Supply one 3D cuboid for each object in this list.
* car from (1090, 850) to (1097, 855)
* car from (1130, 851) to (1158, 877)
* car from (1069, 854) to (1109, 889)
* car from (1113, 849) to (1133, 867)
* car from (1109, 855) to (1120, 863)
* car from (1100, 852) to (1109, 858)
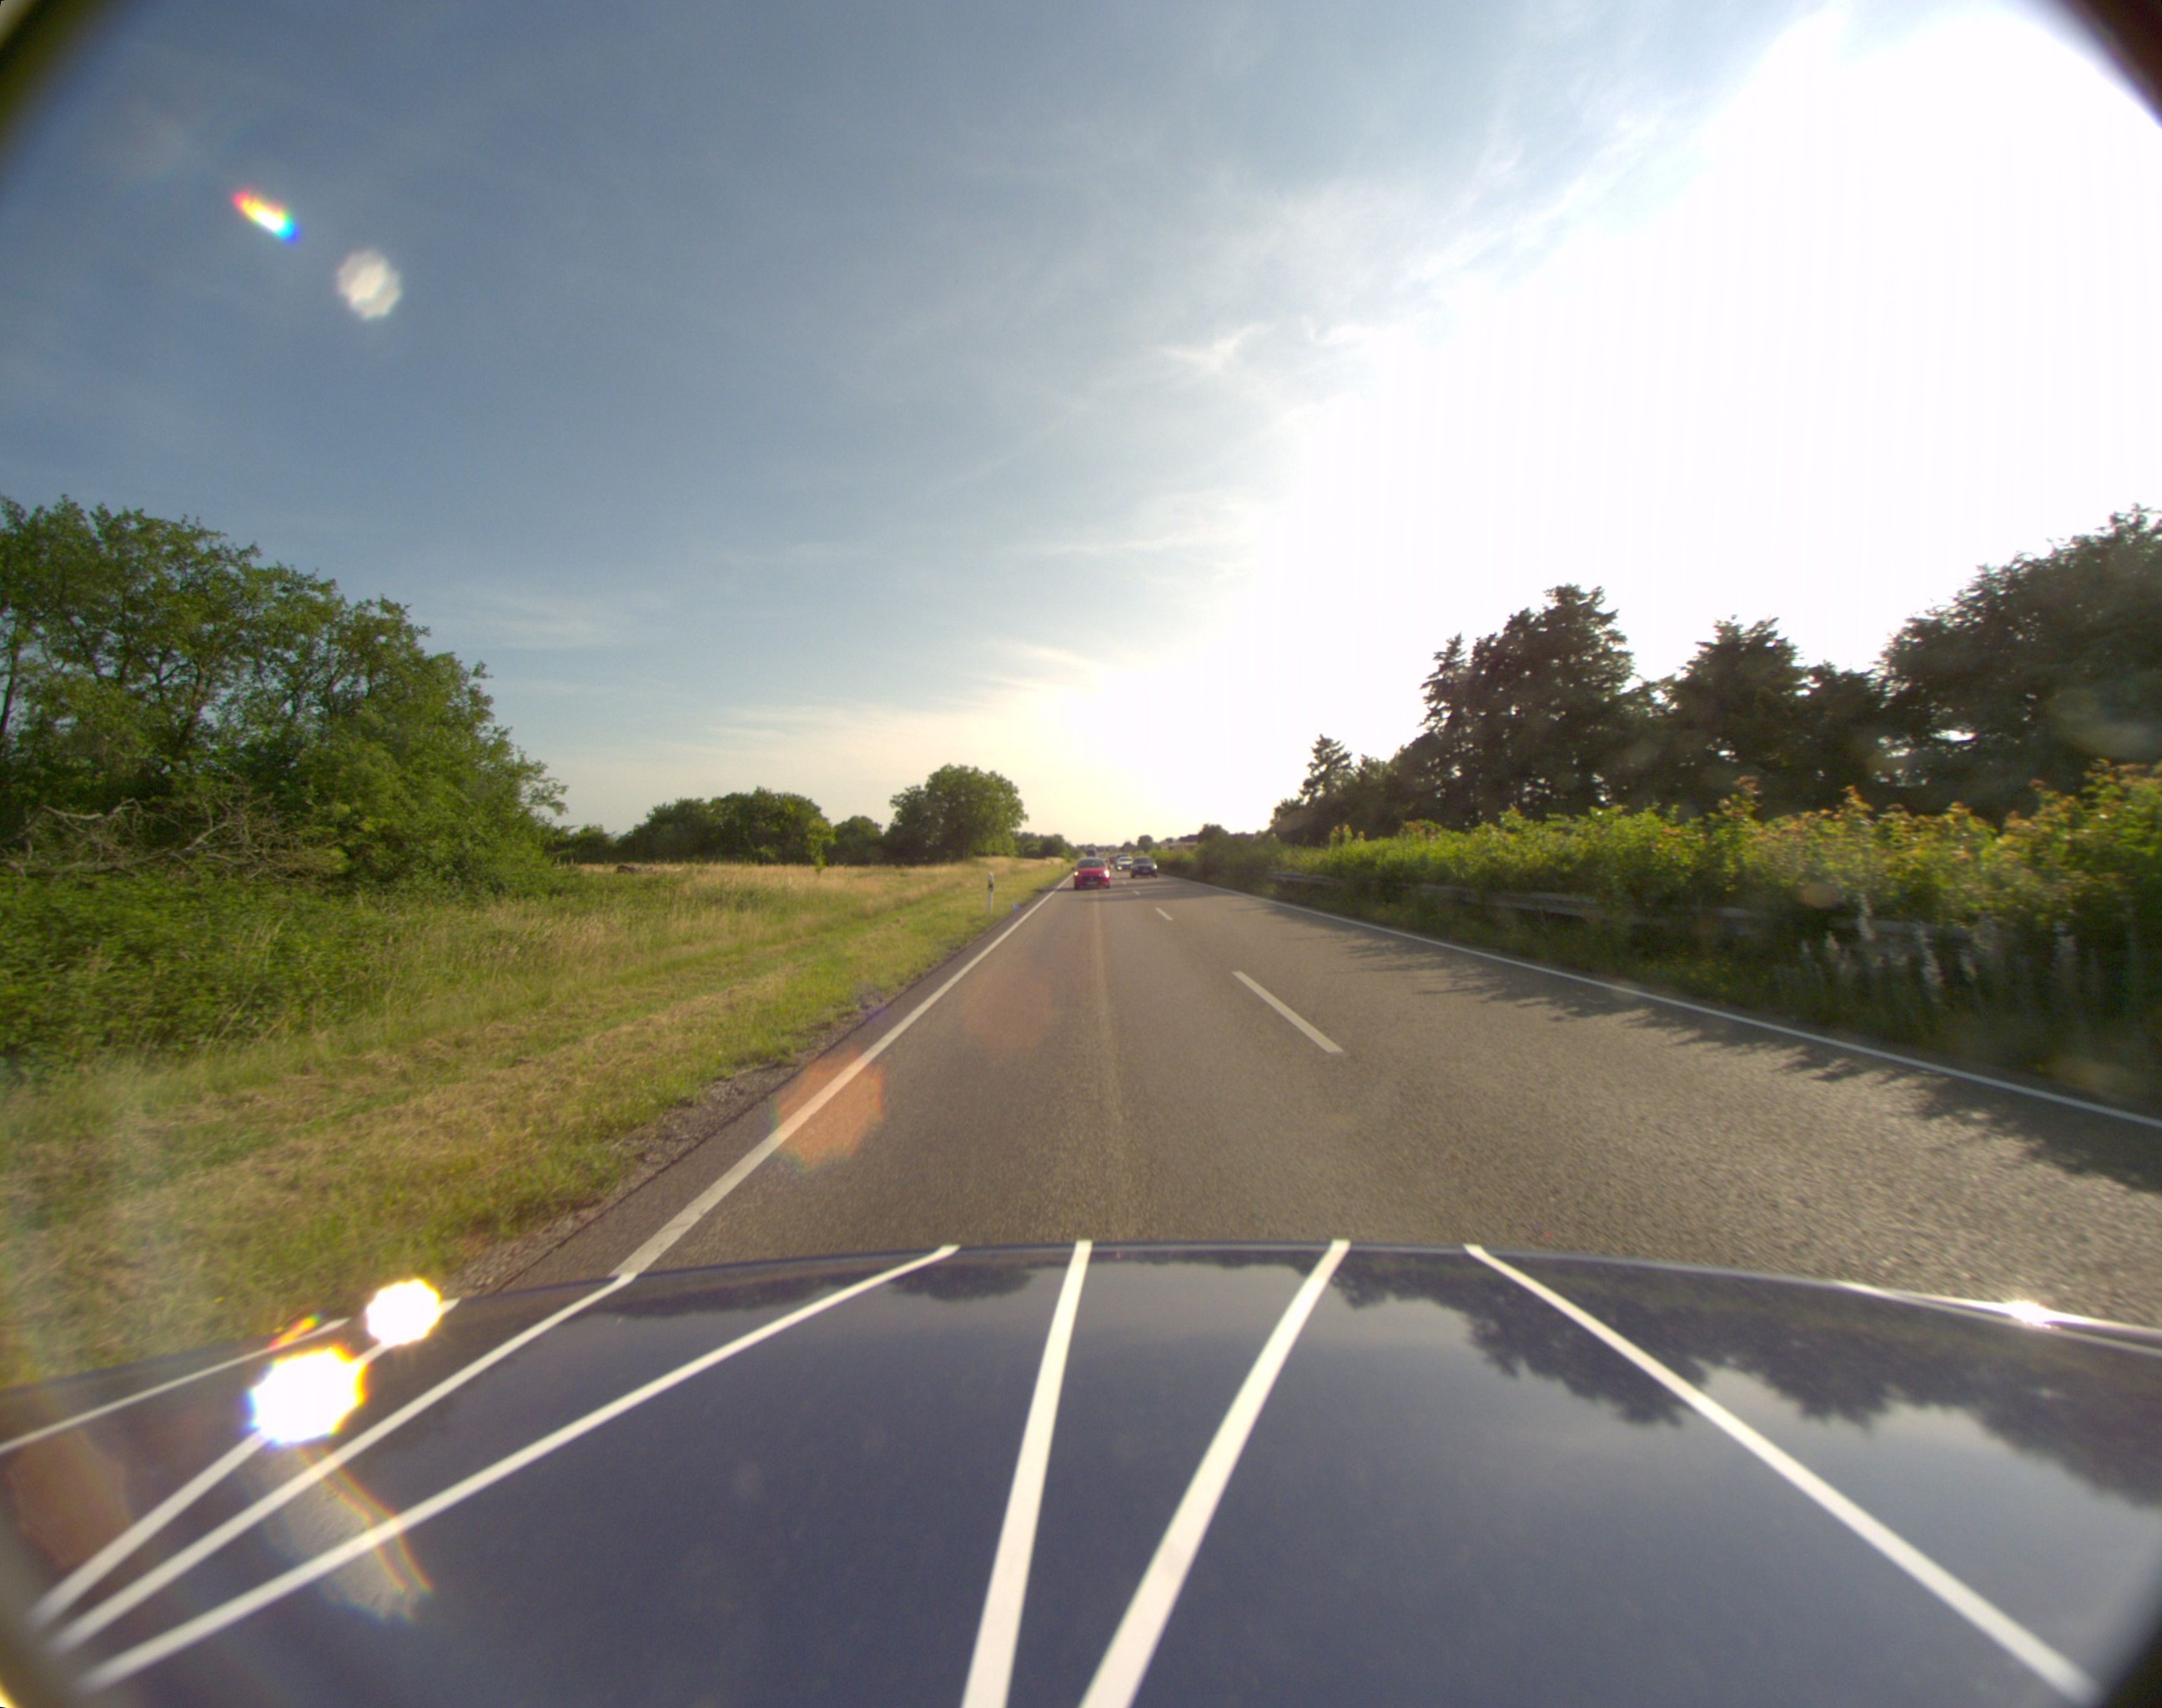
[{"bbox_3d":[3.533,-0.365,212.373,1.998,1.412,4.000,-2,0,2],"label":"car"},{"bbox_3d":[4.331,0.679,52.555,1.693,1.695,4.000,-2,0,2],"label":"car"},{"bbox_3d":[0.446,0.804,37.102,1.821,1.565,4.000,-2,0,2],"label":"car"},{"bbox_3d":[4.372,0.428,79.475,1.998,1.762,4.000,-2,0,2],"label":"car"},{"bbox_3d":[6.418,1.018,144.824,1.998,1.412,4.000,-2,0,2],"label":"car"},{"bbox_3d":[5.348,0.245,174.243,1.998,1.412,4.000,-2,0,2],"label":"car"}]
